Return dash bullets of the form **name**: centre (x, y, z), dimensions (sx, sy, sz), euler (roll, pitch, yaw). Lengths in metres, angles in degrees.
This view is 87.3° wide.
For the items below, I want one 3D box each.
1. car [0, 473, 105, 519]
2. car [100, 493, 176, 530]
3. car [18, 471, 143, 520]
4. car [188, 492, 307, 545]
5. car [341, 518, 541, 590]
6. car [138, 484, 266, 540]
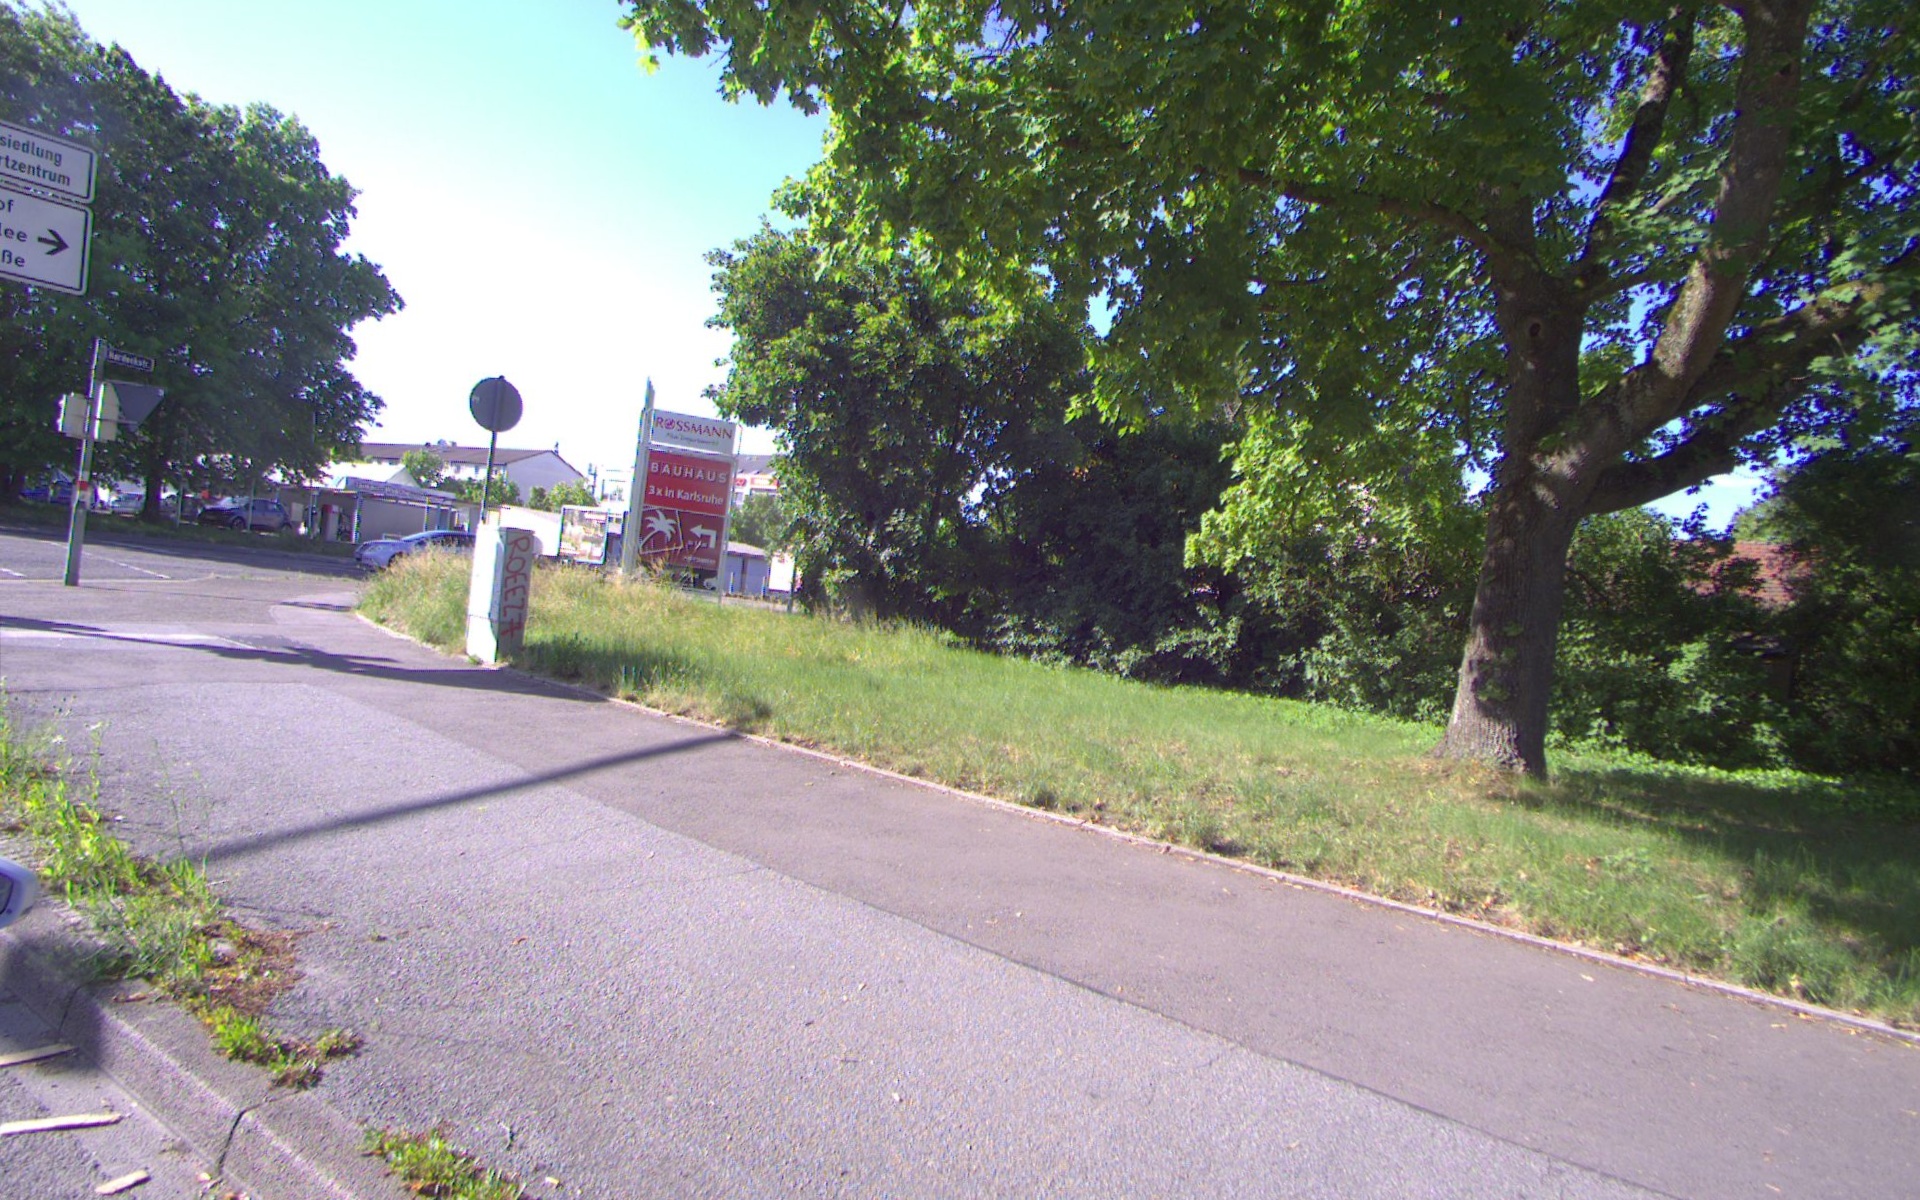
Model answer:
- **car**: centre (-41.991, -4.770, 46.159), dimensions (1.712, 1.537, 3.902), euler (7, 0, 9)
- **car**: centre (-47.618, -5.111, 58.386), dimensions (1.717, 1.701, 3.988), euler (6, 0, -14)
- **car**: centre (-39.181, -4.629, 44.934), dimensions (1.712, 1.537, 3.902), euler (7, 0, 9)
- **car**: centre (-30.297, -3.428, 42.919), dimensions (1.712, 1.701, 4.001), euler (7, 0, 9)
- **car**: centre (-15.731, -1.367, 30.703), dimensions (1.973, 1.504, 4.994), euler (7, 0, 43)
- **car**: centre (-32.332, -3.728, 43.068), dimensions (1.962, 1.771, 4.002), euler (7, 0, 9)
